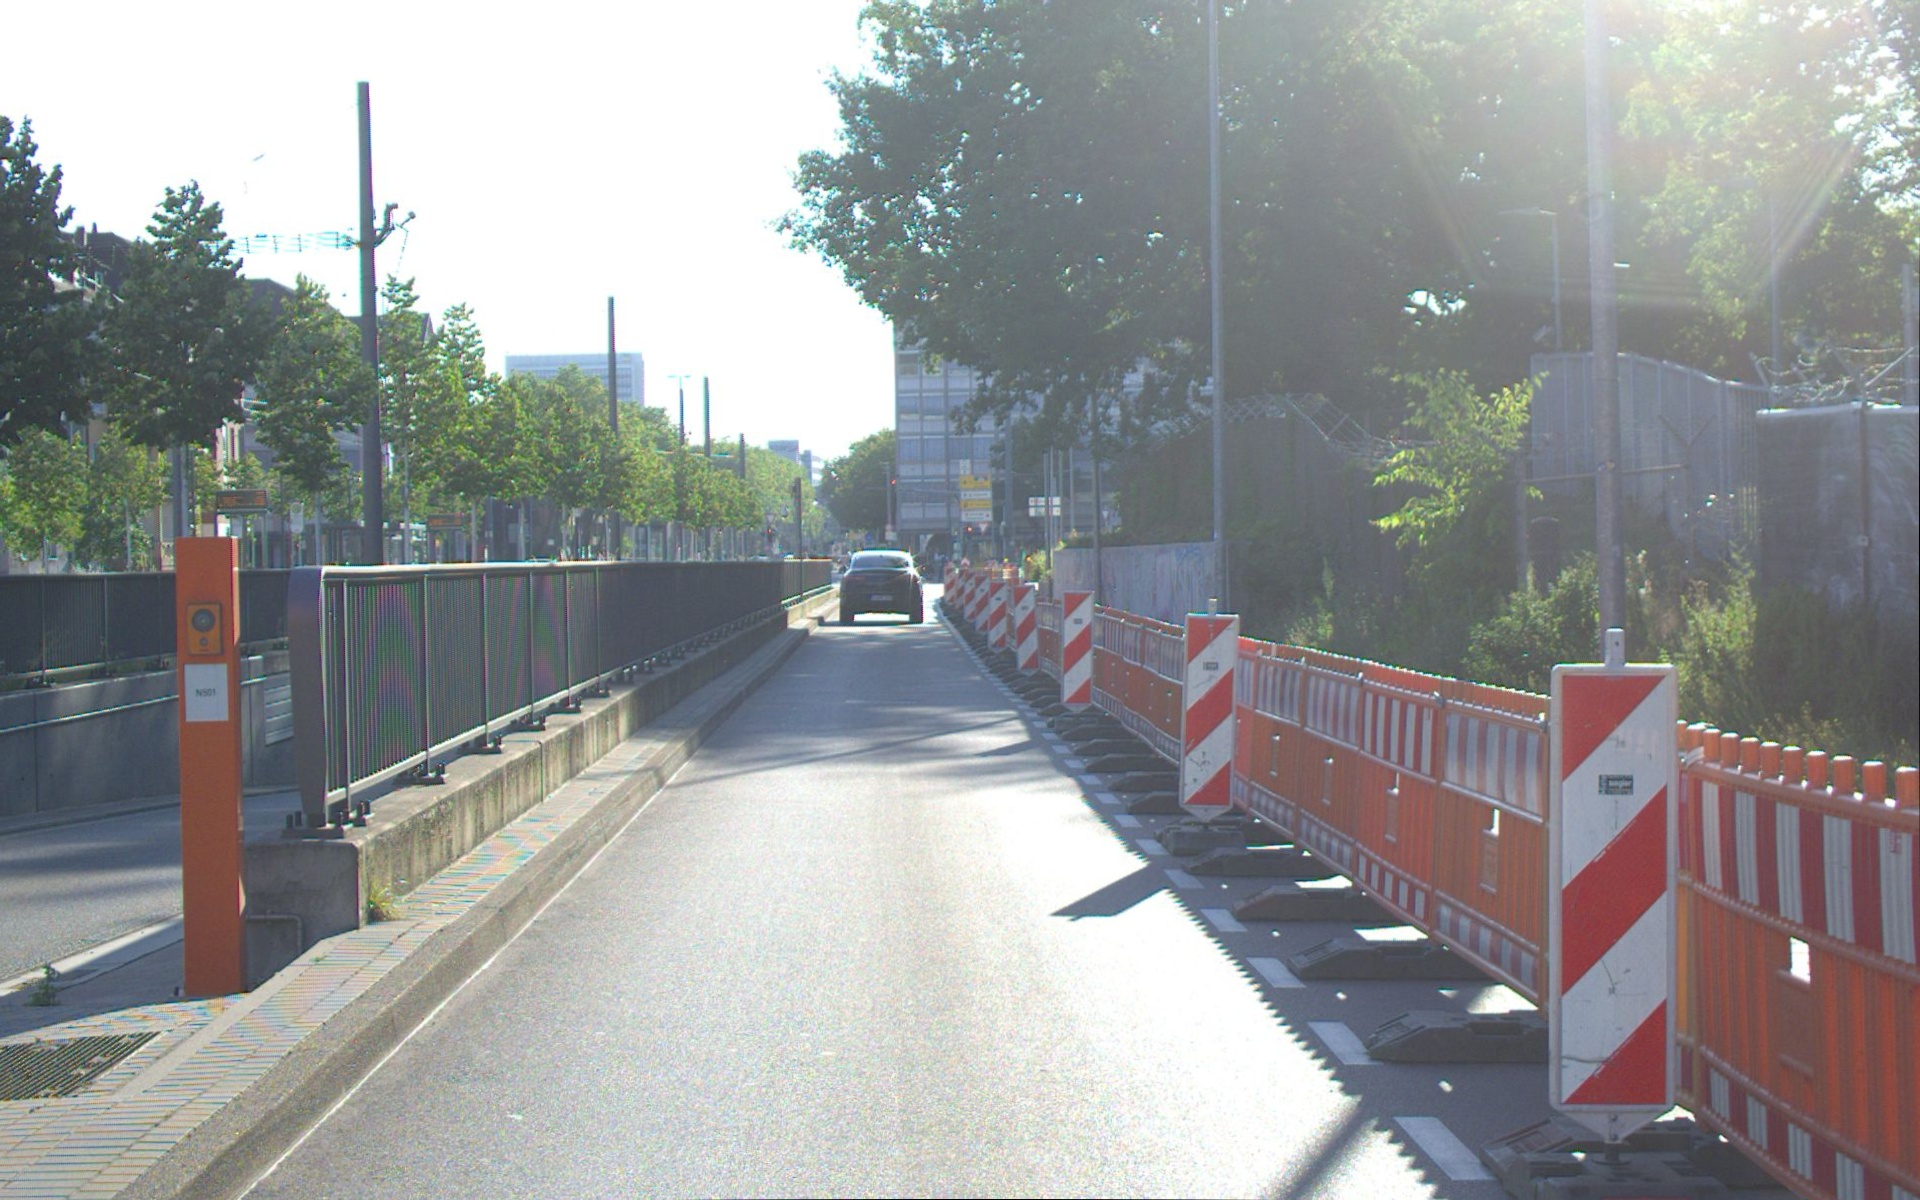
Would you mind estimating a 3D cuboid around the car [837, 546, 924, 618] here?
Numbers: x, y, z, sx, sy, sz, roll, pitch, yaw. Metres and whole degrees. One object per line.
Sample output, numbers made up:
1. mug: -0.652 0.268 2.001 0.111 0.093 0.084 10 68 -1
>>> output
1. car: -1.912 -0.436 83.436 2.005 1.653 4.000 1 0 0
